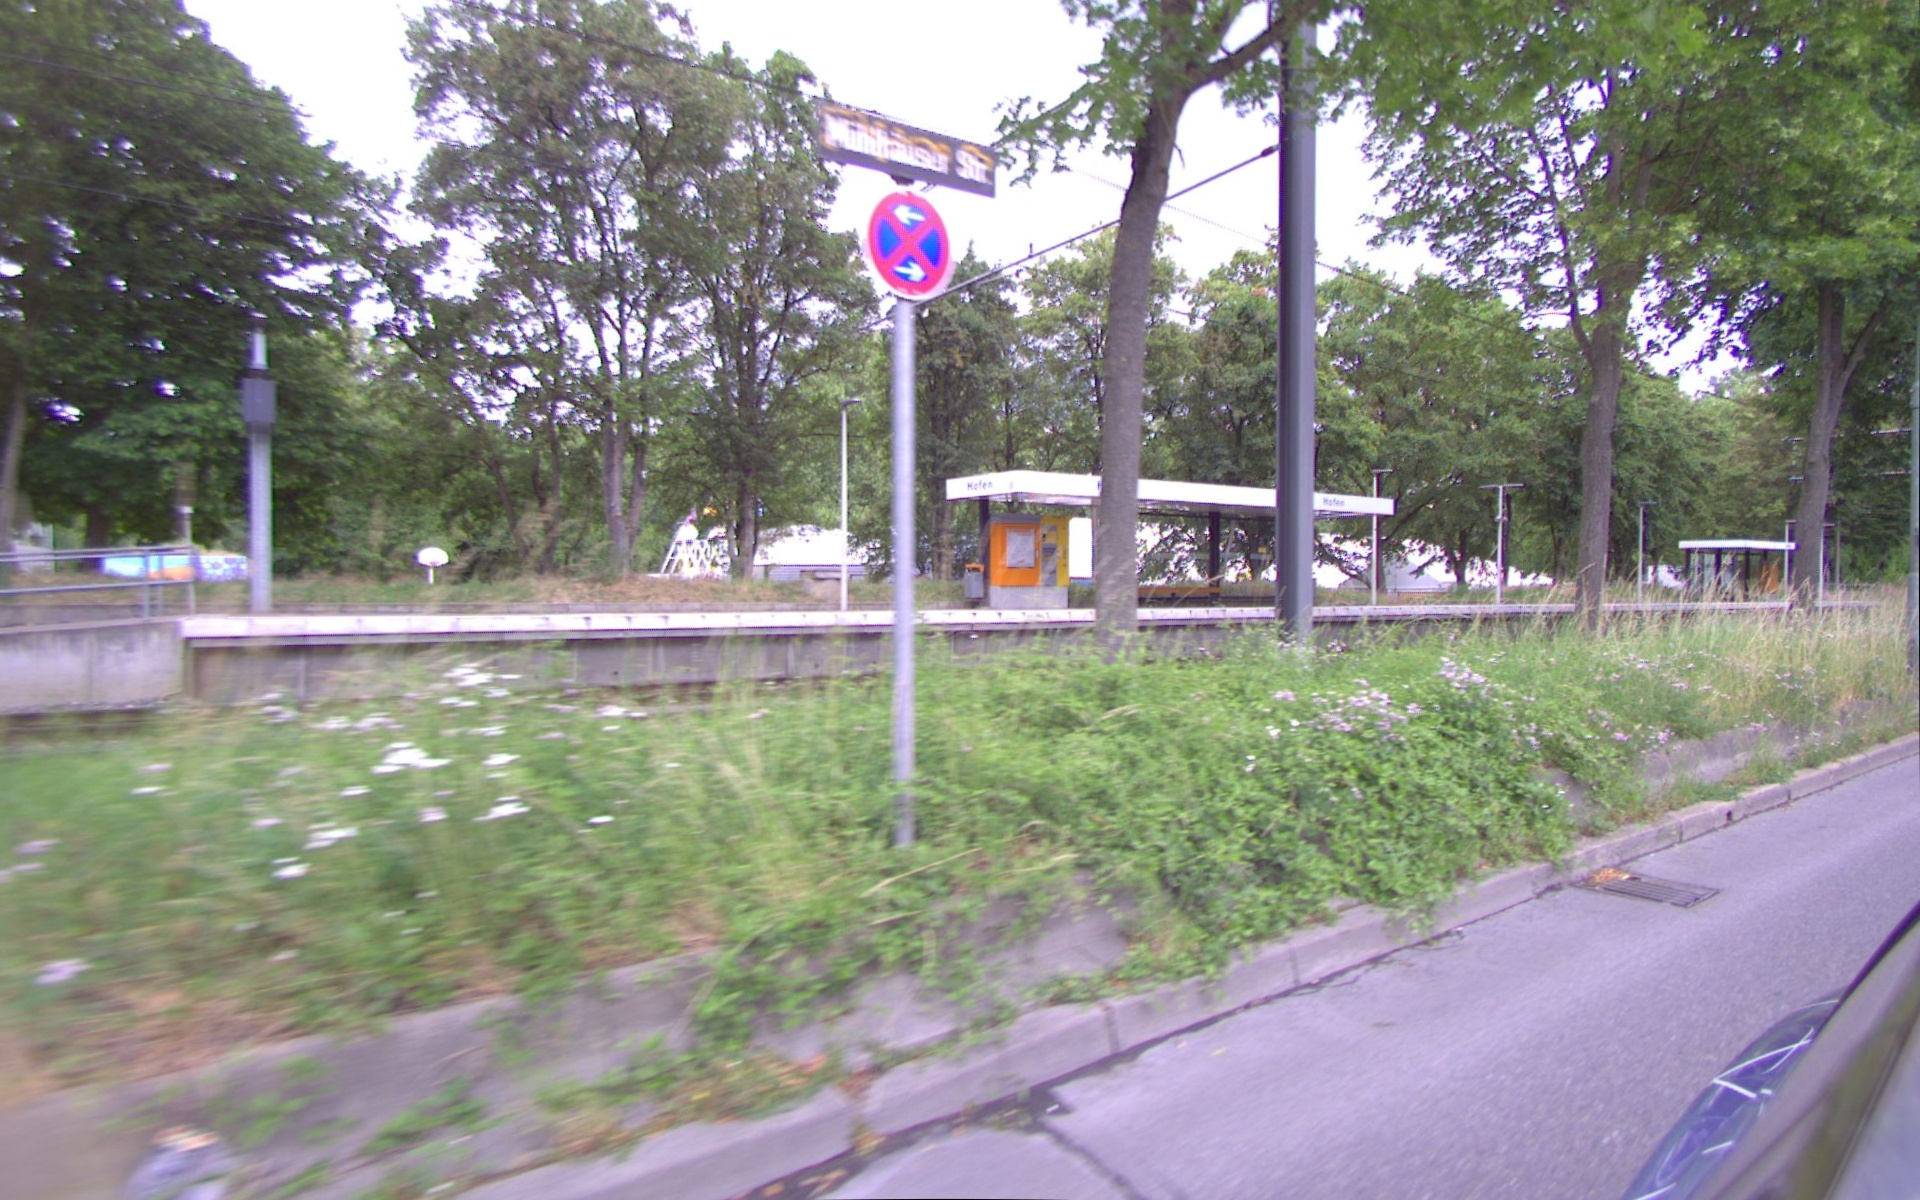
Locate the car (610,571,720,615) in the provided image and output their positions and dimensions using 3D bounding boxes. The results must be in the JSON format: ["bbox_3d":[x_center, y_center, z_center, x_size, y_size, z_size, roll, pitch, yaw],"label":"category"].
[{"bbox_3d":[-16.828,-0.406,57.947,5.697,2.413,2.000,0,0,-36],"label":"car"}]
